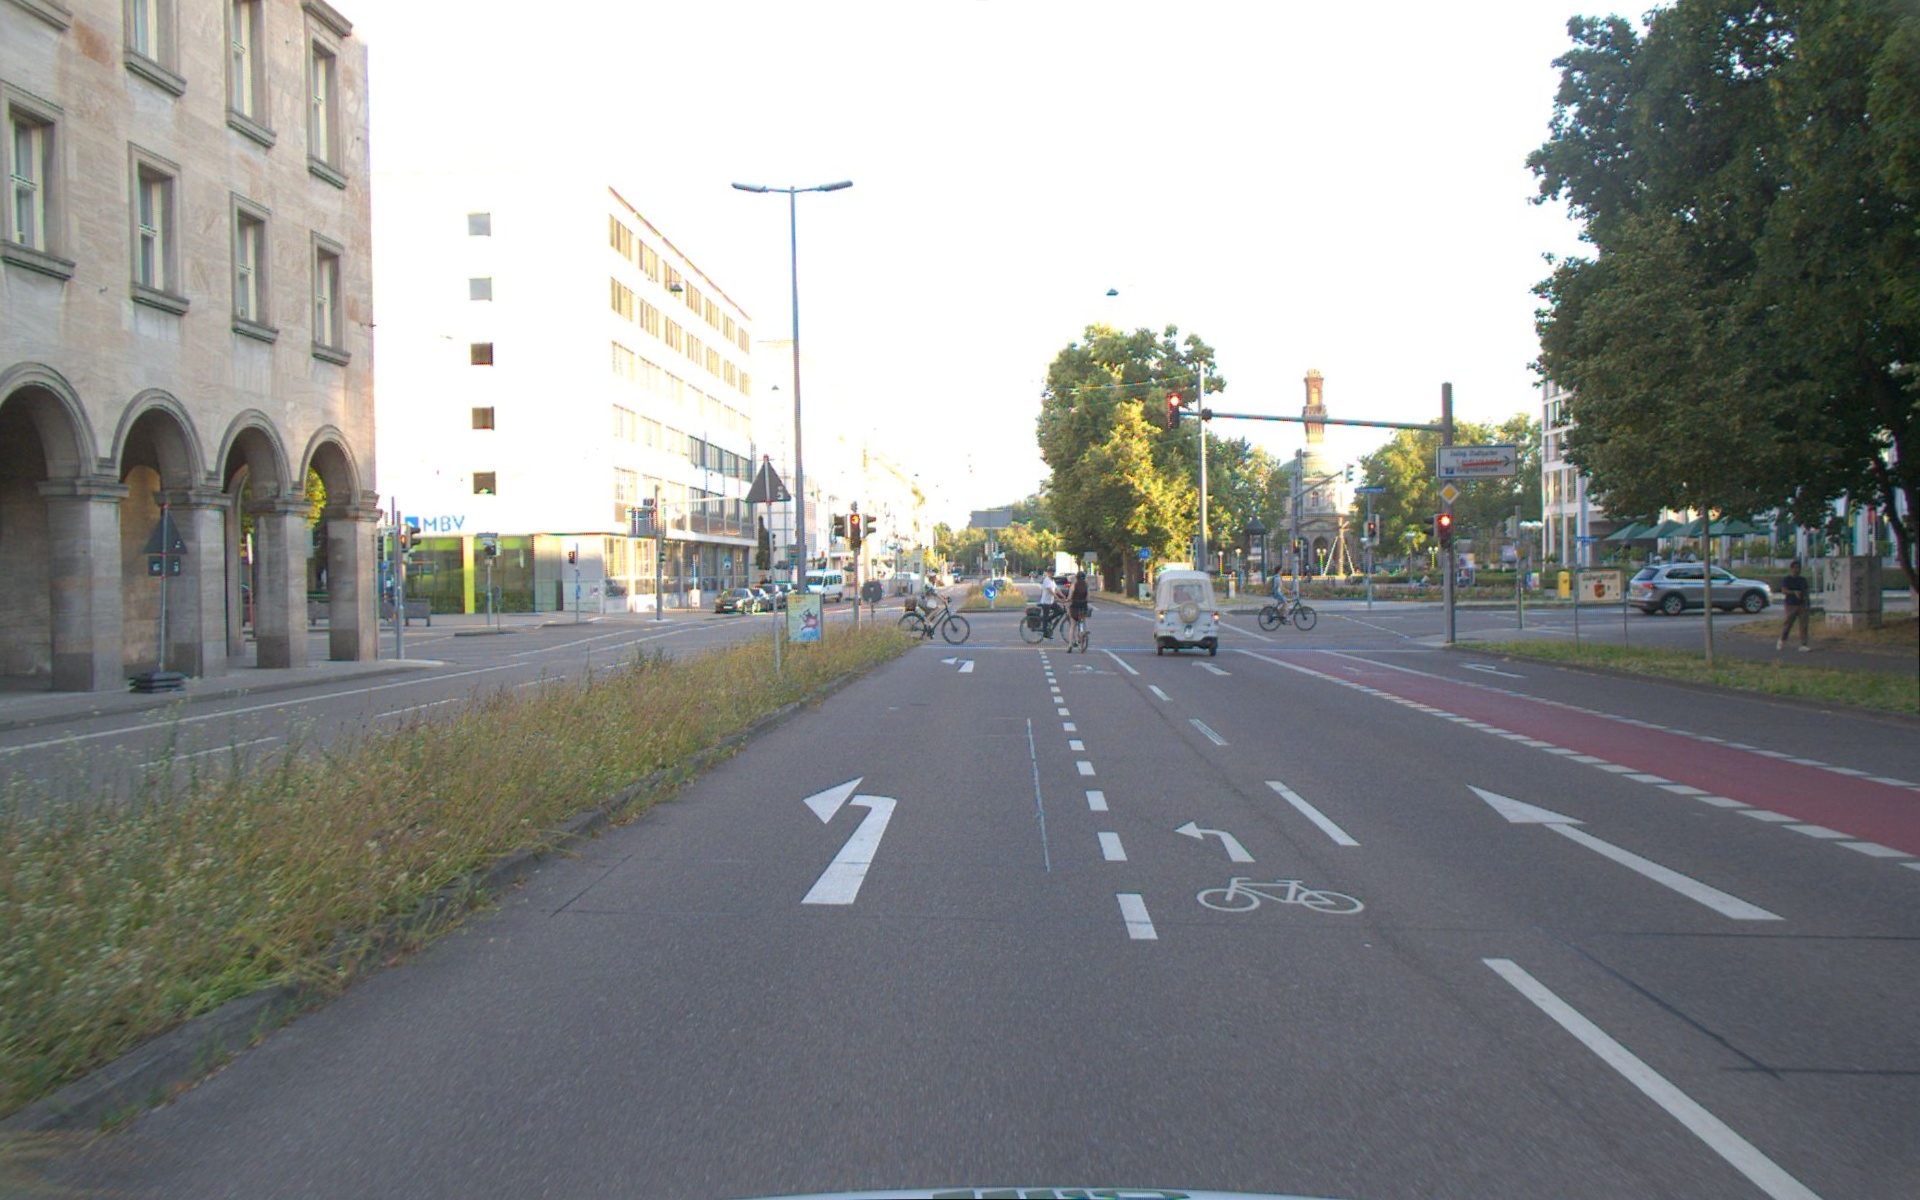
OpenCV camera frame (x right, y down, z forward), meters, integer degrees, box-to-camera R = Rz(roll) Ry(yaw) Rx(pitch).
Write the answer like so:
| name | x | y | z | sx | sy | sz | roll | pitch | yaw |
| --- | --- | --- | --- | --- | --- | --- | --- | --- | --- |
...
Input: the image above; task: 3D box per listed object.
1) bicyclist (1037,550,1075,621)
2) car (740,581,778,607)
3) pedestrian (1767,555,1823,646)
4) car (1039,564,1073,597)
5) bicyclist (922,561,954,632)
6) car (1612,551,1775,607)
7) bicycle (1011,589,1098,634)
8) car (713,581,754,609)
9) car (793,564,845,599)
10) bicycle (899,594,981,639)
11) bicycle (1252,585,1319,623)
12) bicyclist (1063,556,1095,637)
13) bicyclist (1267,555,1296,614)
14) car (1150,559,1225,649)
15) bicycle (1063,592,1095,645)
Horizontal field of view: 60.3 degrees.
| name | x | y | z | sx | sy | sz | roll | pitch | yaw |
| --- | --- | --- | --- | --- | --- | --- | --- | --- | --- |
| bicyclist | 2.396 | -0.367 | 41.165 | 0.730 | 1.722 | 0.765 | -1 | 0 | 20 |
| car | -12.511 | -0.364 | 103.090 | 1.759 | 1.501 | 4.000 | -1 | -2 | 1 |
| pedestrian | 16.113 | 0.008 | 31.931 | 0.681 | 1.722 | 0.748 | -1 | 0 | 1 |
| car | 6.128 | -1.244 | 105.864 | 1.952 | 2.048 | 4.001 | -1 | 1 | 1 |
| bicyclist | -0.543 | -0.088 | 40.682 | 0.731 | 1.722 | 0.715 | -1 | 0 | -3 |
| car | 23.720 | -0.694 | 53.572 | 4.446 | 1.676 | 1.997 | -1 | 1 | -6 |
| bicycle | 2.350 | 0.288 | 41.179 | 2.015 | 1.087 | 0.787 | -1 | 1 | 19 |
| car | -13.100 | -0.259 | 95.876 | 1.759 | 1.501 | 4.000 | -1 | -2 | 1 |
| car | -10.634 | -1.351 | 125.419 | 2.130 | 2.427 | 5.994 | -2 | -2 | 13 |
| bicycle | -0.500 | 0.402 | 40.702 | 1.975 | 1.087 | 0.730 | 0 | 0 | -3 |
| bicycle | 9.556 | 0.109 | 48.613 | 1.856 | 1.087 | 0.731 | 0 | 0 | 5 |
| bicyclist | 2.573 | -0.086 | 35.891 | 0.615 | 1.722 | 0.749 | -1 | 0 | 1 |
| bicyclist | 9.433 | -0.459 | 48.603 | 0.730 | 1.722 | 0.716 | -1 | 0 | 5 |
| car | 4.861 | 0.057 | 35.562 | 1.429 | 1.811 | 2.566 | 0 | 2 | 4 |
| bicycle | 2.599 | 0.386 | 36.211 | 0.624 | 1.087 | 2.070 | 0 | 1 | 2 |
